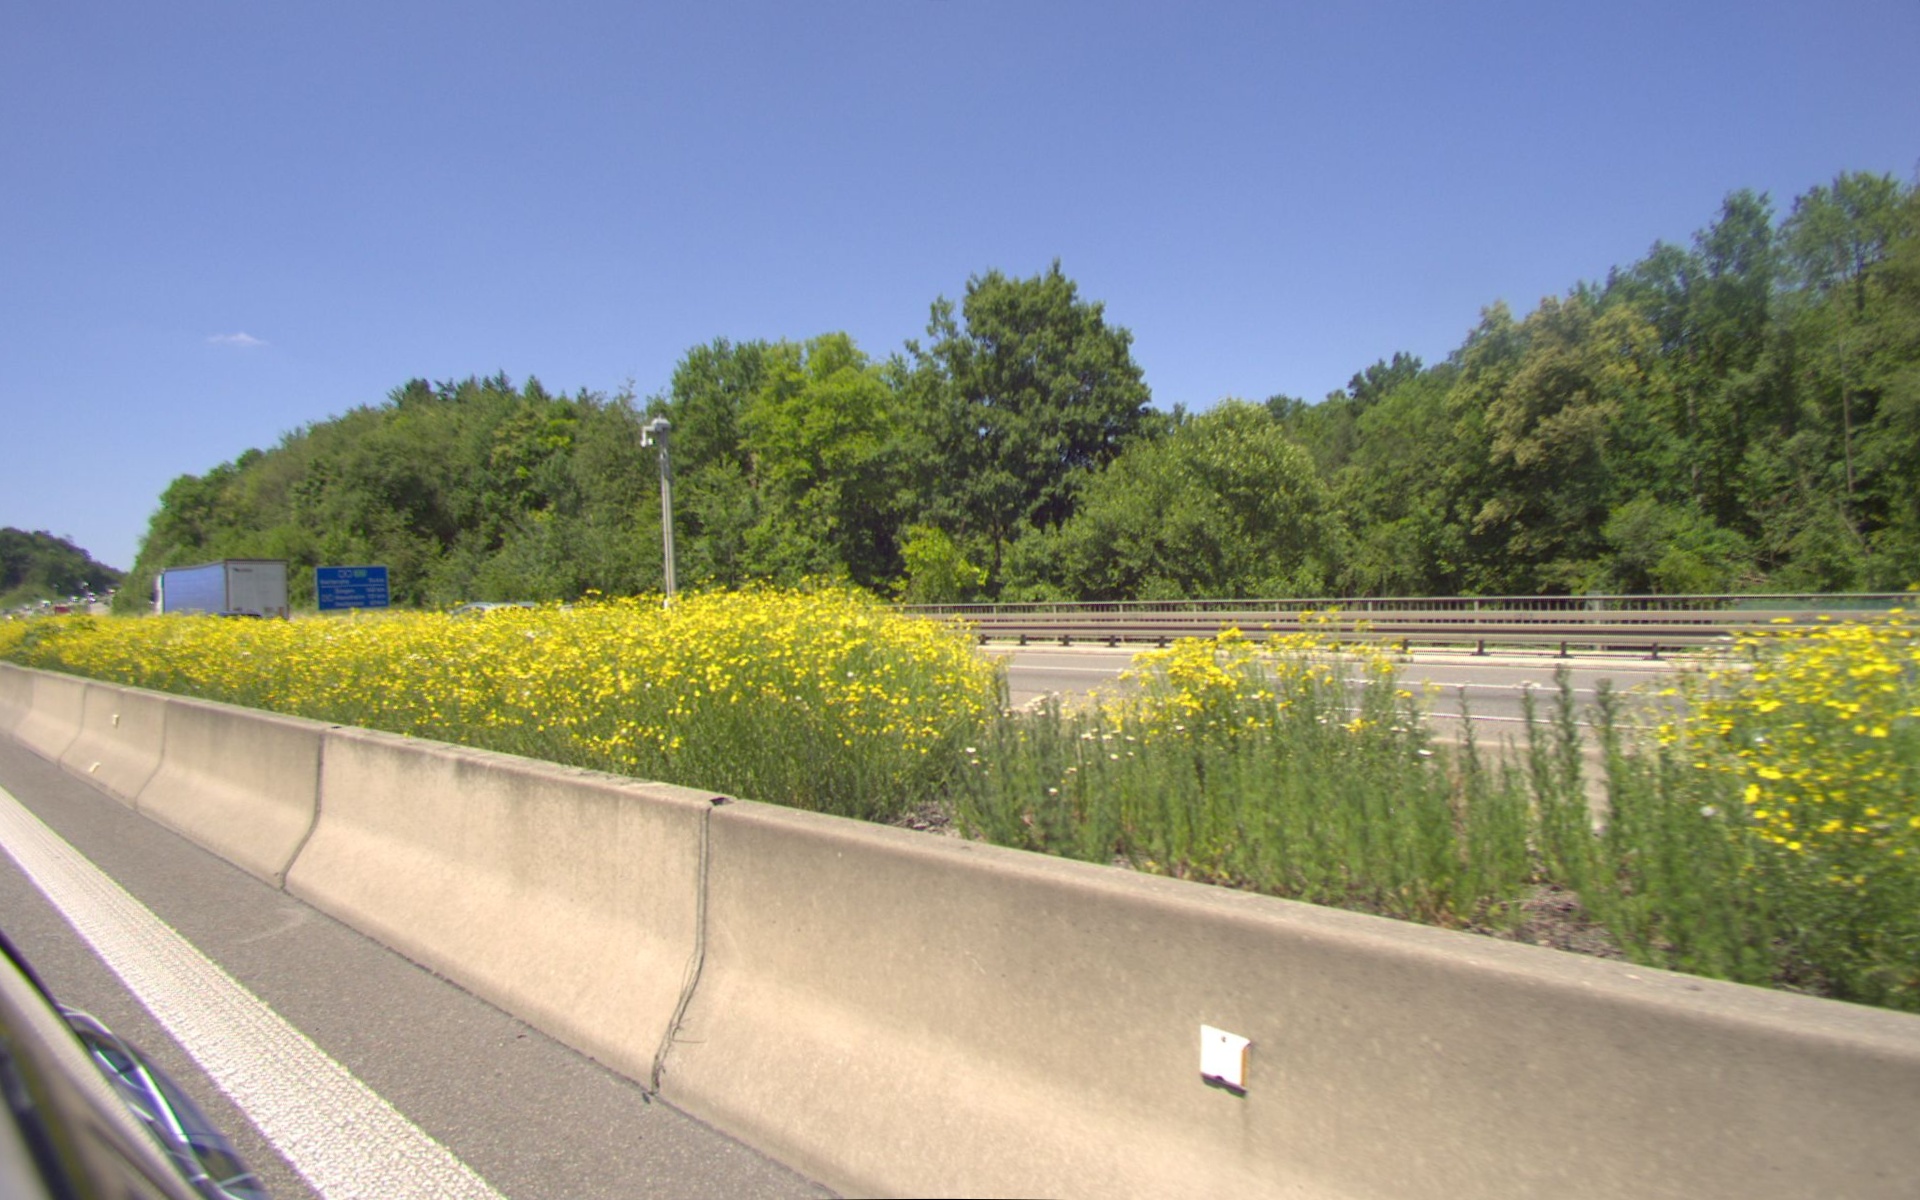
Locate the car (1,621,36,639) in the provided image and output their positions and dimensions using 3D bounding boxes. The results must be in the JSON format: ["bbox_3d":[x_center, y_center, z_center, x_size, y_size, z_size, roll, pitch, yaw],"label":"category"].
[{"bbox_3d":[-80.876,2.583,86.937,3.998,1.500,1.786,-2,0,41],"label":"car"}]

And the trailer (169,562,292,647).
[{"bbox_3d":[-36.972,0.292,51.103,10.164,3.886,2.752,-2,0,41],"label":"trailer"}]

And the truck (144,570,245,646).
[{"bbox_3d":[-42.113,0.459,55.584,8.408,3.886,2.720,-2,0,41],"label":"truck"}]

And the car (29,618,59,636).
[{"bbox_3d":[-96.389,2.850,106.520,4.320,1.778,1.862,-2,0,41],"label":"car"}]

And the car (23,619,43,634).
[{"bbox_3d":[-168.610,4.846,184.111,5.975,2.643,2.133,-1,-1,43],"label":"car"}]

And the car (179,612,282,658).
[{"bbox_3d":[-27.409,1.279,37.975,4.797,1.541,2.115,-1,0,42],"label":"car"}]

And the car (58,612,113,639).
[{"bbox_3d":[-55.304,1.618,63.951,4.637,1.573,1.973,-1,0,41],"label":"car"}]

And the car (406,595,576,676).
[{"bbox_3d":[-10.069,0.723,21.591,4.154,1.556,1.767,-2,0,42],"label":"car"}]
